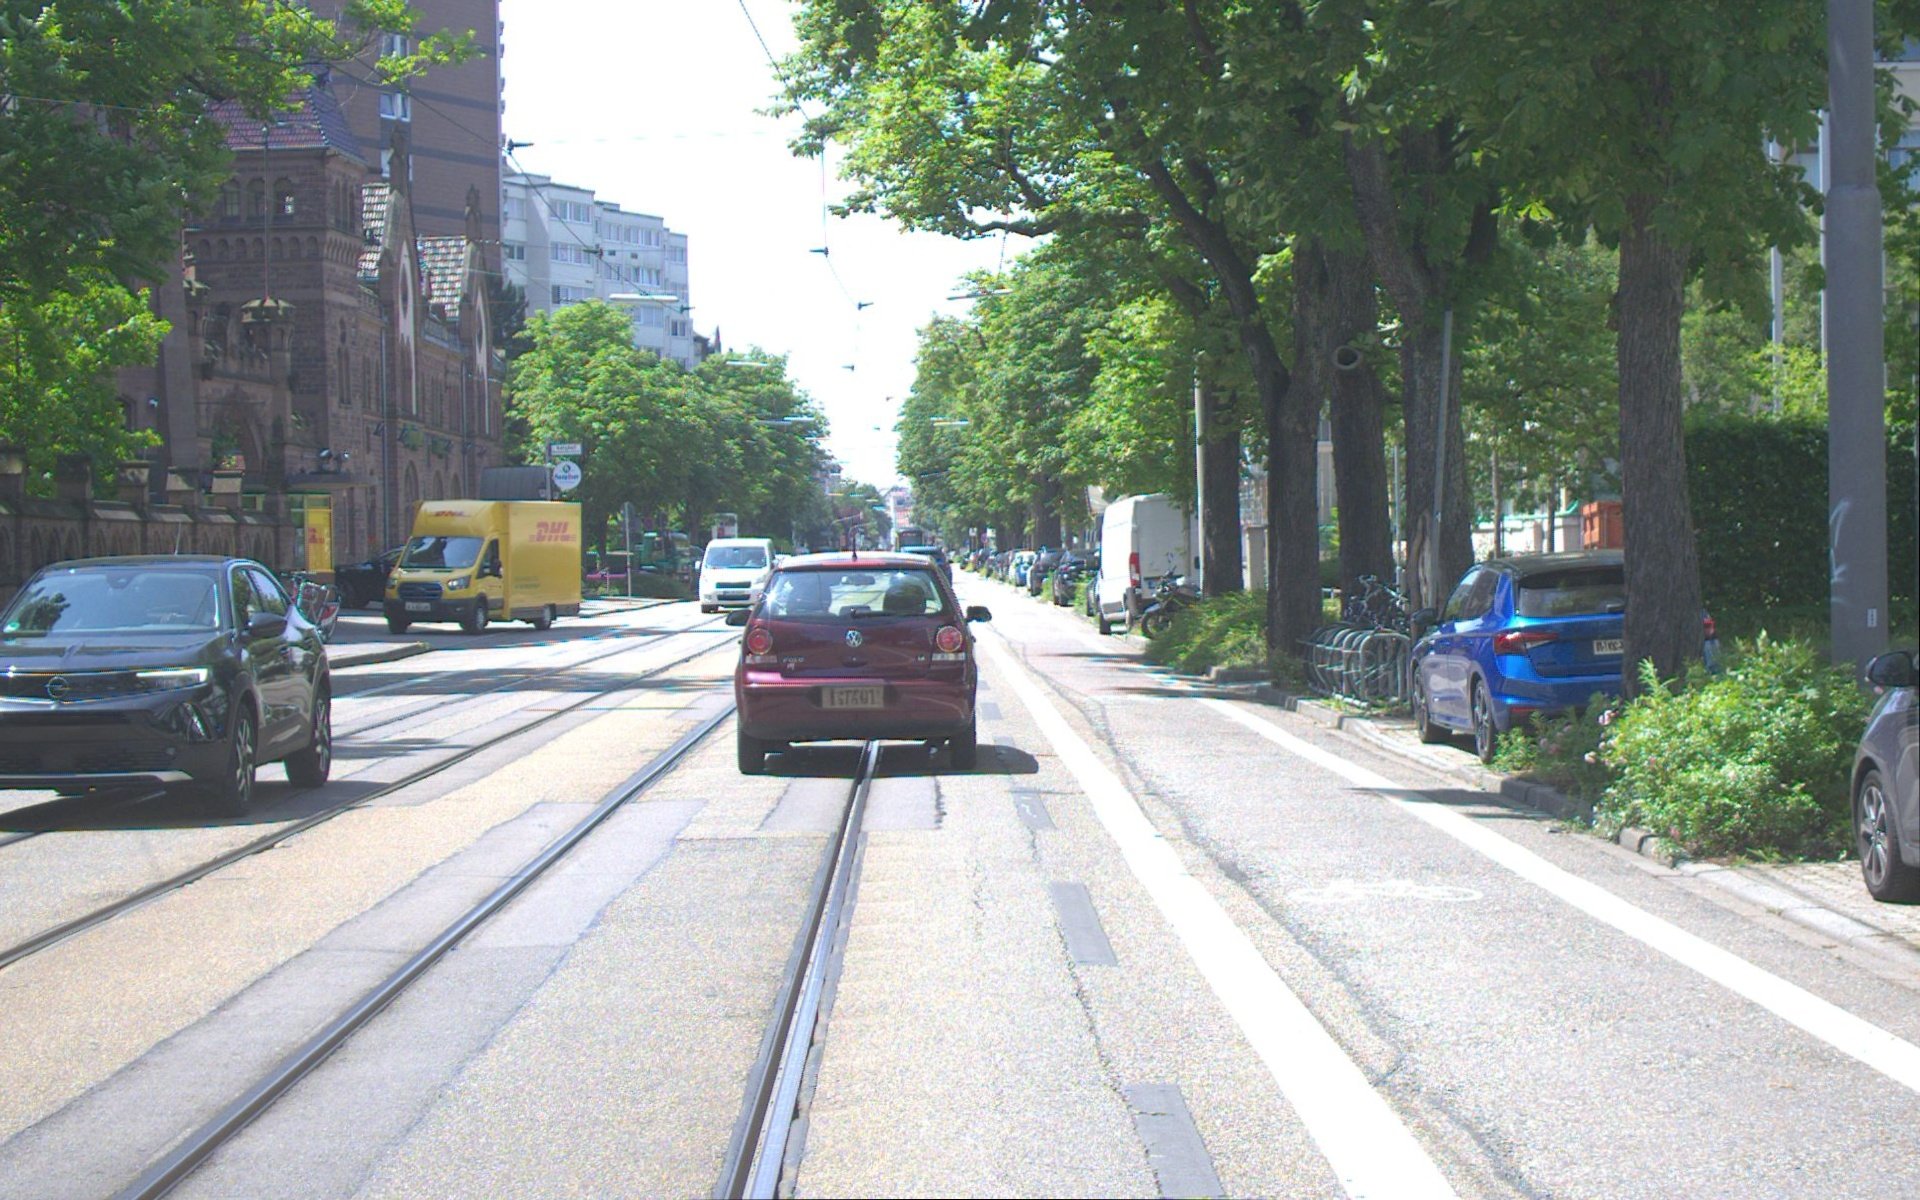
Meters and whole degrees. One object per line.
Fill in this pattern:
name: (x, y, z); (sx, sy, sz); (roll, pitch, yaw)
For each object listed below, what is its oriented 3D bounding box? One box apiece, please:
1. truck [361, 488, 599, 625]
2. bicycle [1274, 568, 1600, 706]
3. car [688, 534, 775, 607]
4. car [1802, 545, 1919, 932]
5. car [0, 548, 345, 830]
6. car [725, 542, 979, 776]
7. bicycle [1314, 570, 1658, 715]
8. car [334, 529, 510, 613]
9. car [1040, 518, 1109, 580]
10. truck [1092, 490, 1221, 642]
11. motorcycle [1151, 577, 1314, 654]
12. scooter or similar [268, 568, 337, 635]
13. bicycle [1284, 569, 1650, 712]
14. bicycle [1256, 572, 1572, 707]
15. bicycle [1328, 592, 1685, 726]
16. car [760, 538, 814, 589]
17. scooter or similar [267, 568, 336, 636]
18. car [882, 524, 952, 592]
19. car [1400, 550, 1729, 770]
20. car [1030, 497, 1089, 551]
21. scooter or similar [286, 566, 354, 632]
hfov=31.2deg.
truck: (-10.241, -0.961, 74.171); (2.371, 2.777, 7.315); (-1, 1, 15)
bicycle: (4.675, 0.360, 33.823); (3.069, 1.308, 0.782); (1, 1, -2)
car: (-5.951, -0.788, 89.985); (1.993, 1.848, 4.682); (-1, 1, -1)
car: (4.580, 0.524, 13.243); (1.688, 1.498, 3.628); (-2, 1, -1)
car: (-4.954, 0.461, 20.753); (1.770, 1.510, 4.000); (-1, 1, 0)
car: (-0.740, 0.349, 24.263); (1.619, 1.481, 4.000); (-1, 1, -1)
bicycle: (4.899, 0.390, 32.126); (3.069, 1.308, 0.782); (1, 1, -2)
car: (-13.467, -0.736, 86.156); (3.987, 2.007, 2.000); (-1, 1, 4)
car: (3.118, -1.417, 94.234); (1.674, 1.651, 4.000); (1, 1, -1)
truck: (3.539, -0.646, 62.862); (1.993, 2.652, 4.875); (1, 1, -1)
motorcycle: (4.349, 0.239, 54.869); (2.555, 1.183, 0.941); (1, 1, 5)
scooter or similar: (-11.411, 0.027, 59.689); (1.088, 1.151, 0.527); (0, 1, -21)
bicycle: (4.840, 0.381, 32.957); (3.367, 1.308, 0.782); (1, 1, -2)
bicycle: (4.582, 0.394, 34.799); (3.069, 1.308, 0.782); (1, 1, -2)
bicycle: (4.903, 0.528, 30.971); (3.069, 1.150, 0.782); (1, 1, -2)
car: (-5.849, -1.254, 116.690); (1.674, 1.651, 4.000); (1, 1, -1)
scooter or similar: (-11.319, 0.031, 59.090); (1.088, 1.151, 0.527); (0, 1, -21)
car: (-1.329, -1.307, 105.017); (1.993, 2.007, 4.001); (1, 1, -3)
car: (4.372, 0.380, 25.392); (1.688, 1.463, 3.880); (-1, 1, -1)
car: (3.107, -2.381, 107.854); (1.674, 1.651, 4.000); (1, 1, -1)
scooter or similar: (-11.263, -0.018, 60.529); (1.088, 1.151, 0.527); (0, 1, -21)
